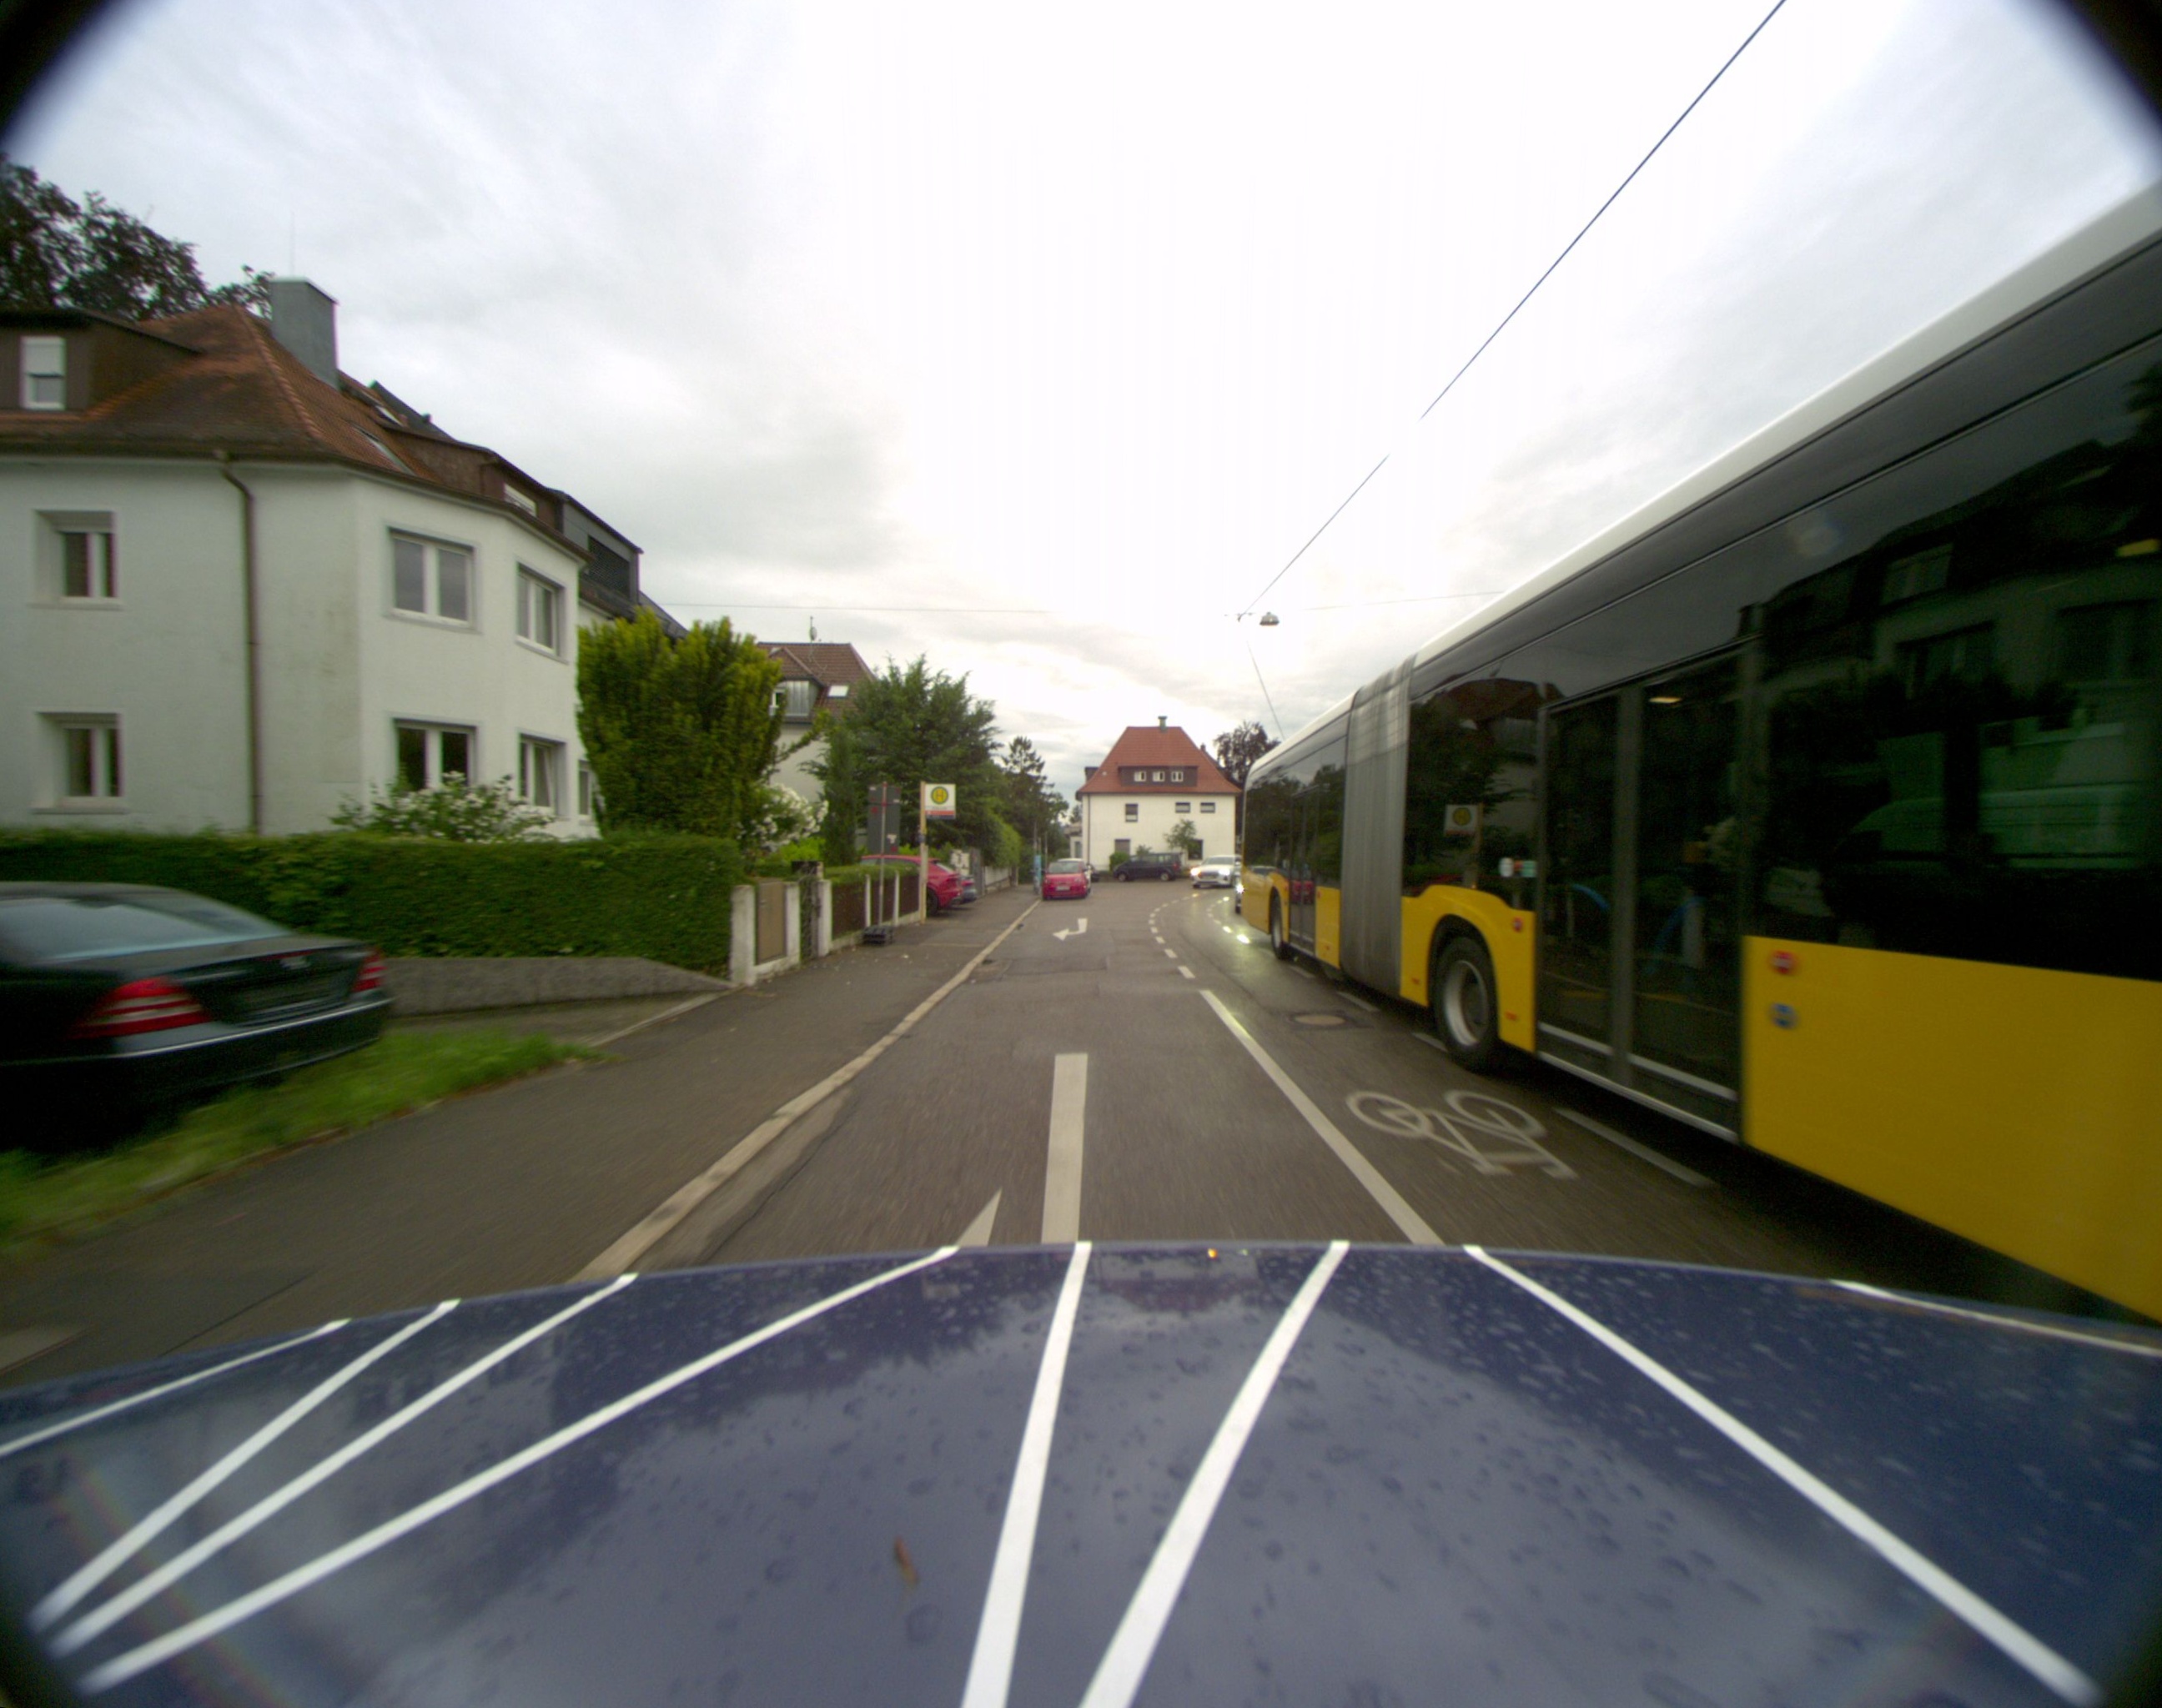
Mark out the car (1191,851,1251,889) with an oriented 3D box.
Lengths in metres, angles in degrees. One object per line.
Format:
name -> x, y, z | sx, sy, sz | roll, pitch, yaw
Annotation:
car -> 6.840, 0.760, 36.931 | 1.792, 1.689, 3.897 | -1, 0, 27

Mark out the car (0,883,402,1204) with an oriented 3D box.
car -> -6.307, 0.851, 4.120 | 3.752, 1.379, 1.617 | 0, -2, 0

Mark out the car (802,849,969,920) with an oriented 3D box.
car -> -5.274, 0.804, 20.448 | 4.091, 1.740, 1.996 | 1, 0, -23

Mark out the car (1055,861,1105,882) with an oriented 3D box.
car -> -0.078, 1.242, 54.929 | 3.271, 1.431, 1.322 | 0, -5, -19

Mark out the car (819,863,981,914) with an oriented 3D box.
car -> -5.423, 1.033, 23.332 | 4.561, 1.408, 1.999 | 1, 0, -5

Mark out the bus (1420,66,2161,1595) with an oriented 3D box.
bus -> 3.819, -0.053, 1.056 | 2.906, 3.378, 9.042 | 0, 0, 2

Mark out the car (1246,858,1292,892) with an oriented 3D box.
car -> 8.836, 0.966, 35.532 | 1.728, 1.470, 4.047 | 0, -1, 19

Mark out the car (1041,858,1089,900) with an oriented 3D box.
car -> -0.575, 0.941, 30.070 | 1.615, 1.528, 3.541 | -1, 0, 3

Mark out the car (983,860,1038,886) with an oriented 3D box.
car -> -5.405, 1.421, 58.414 | 3.997, 1.849, 1.771 | -1, 0, 0

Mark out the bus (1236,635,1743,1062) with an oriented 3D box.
bus -> 4.118, -0.031, 10.405 | 2.682, 3.378, 8.682 | 0, 0, 3

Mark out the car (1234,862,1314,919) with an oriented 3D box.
car -> 5.531, 0.999, 22.296 | 1.997, 1.470, 4.490 | 1, -1, 11

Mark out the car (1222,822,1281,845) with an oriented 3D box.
car -> 14.929, -1.768, 66.436 | 4.734, 1.799, 1.945 | 3, 2, 20

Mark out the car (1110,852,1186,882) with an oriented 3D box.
car -> 4.682, 0.874, 52.823 | 4.911, 1.936, 1.943 | 0, 1, 21

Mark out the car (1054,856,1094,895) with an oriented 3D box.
car -> -0.298, 0.967, 35.758 | 1.748, 1.662, 4.647 | -1, 0, 0
